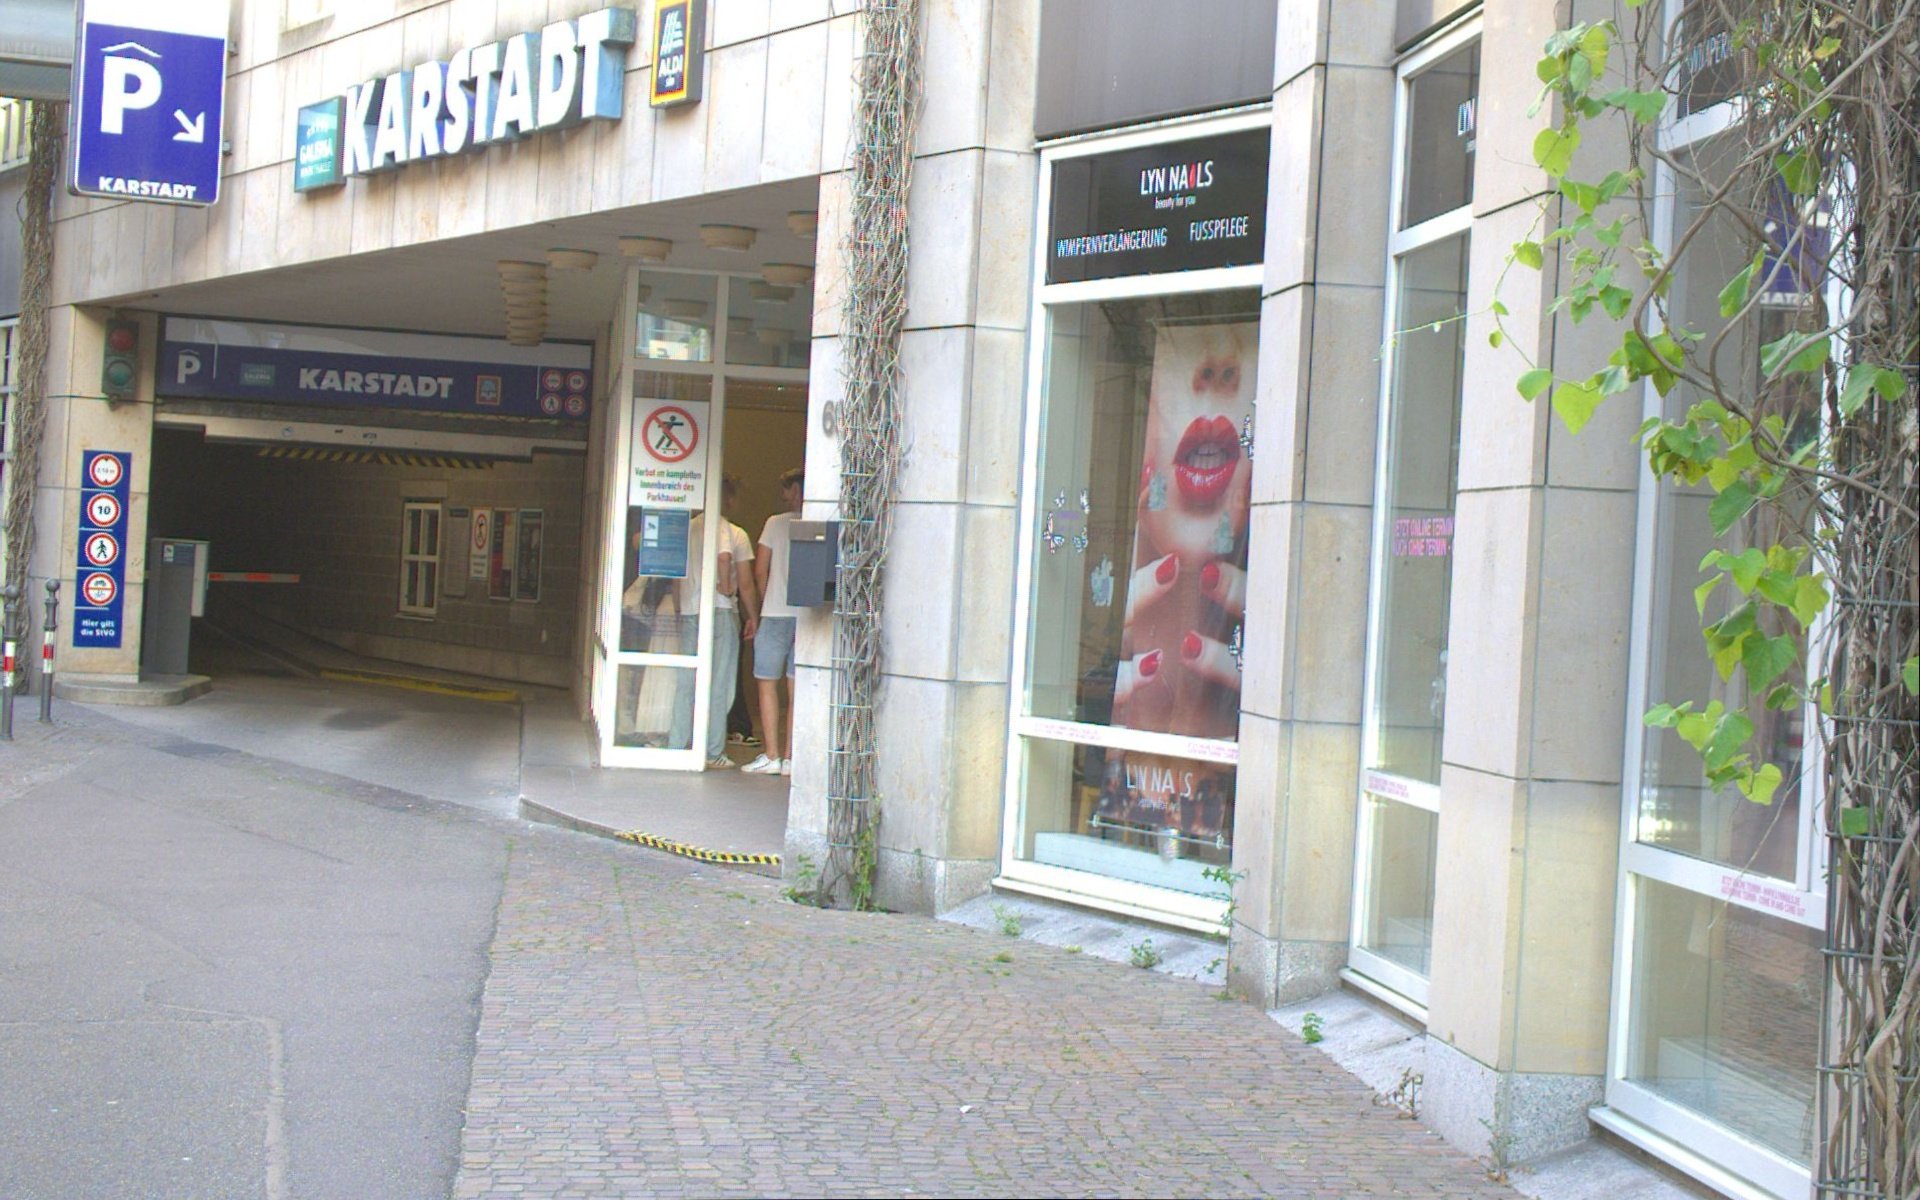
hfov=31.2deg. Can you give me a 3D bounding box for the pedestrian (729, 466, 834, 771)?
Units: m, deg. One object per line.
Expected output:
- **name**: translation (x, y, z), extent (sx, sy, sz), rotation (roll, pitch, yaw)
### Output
- **pedestrian**: translation (-1.108, 0.108, 21.382), extent (0.542, 1.855, 0.408), rotation (3, 1, -1)

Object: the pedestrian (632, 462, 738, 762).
- **pedestrian**: translation (-1.721, 0.071, 21.547), extent (0.542, 1.840, 0.408), rotation (3, 1, -1)
